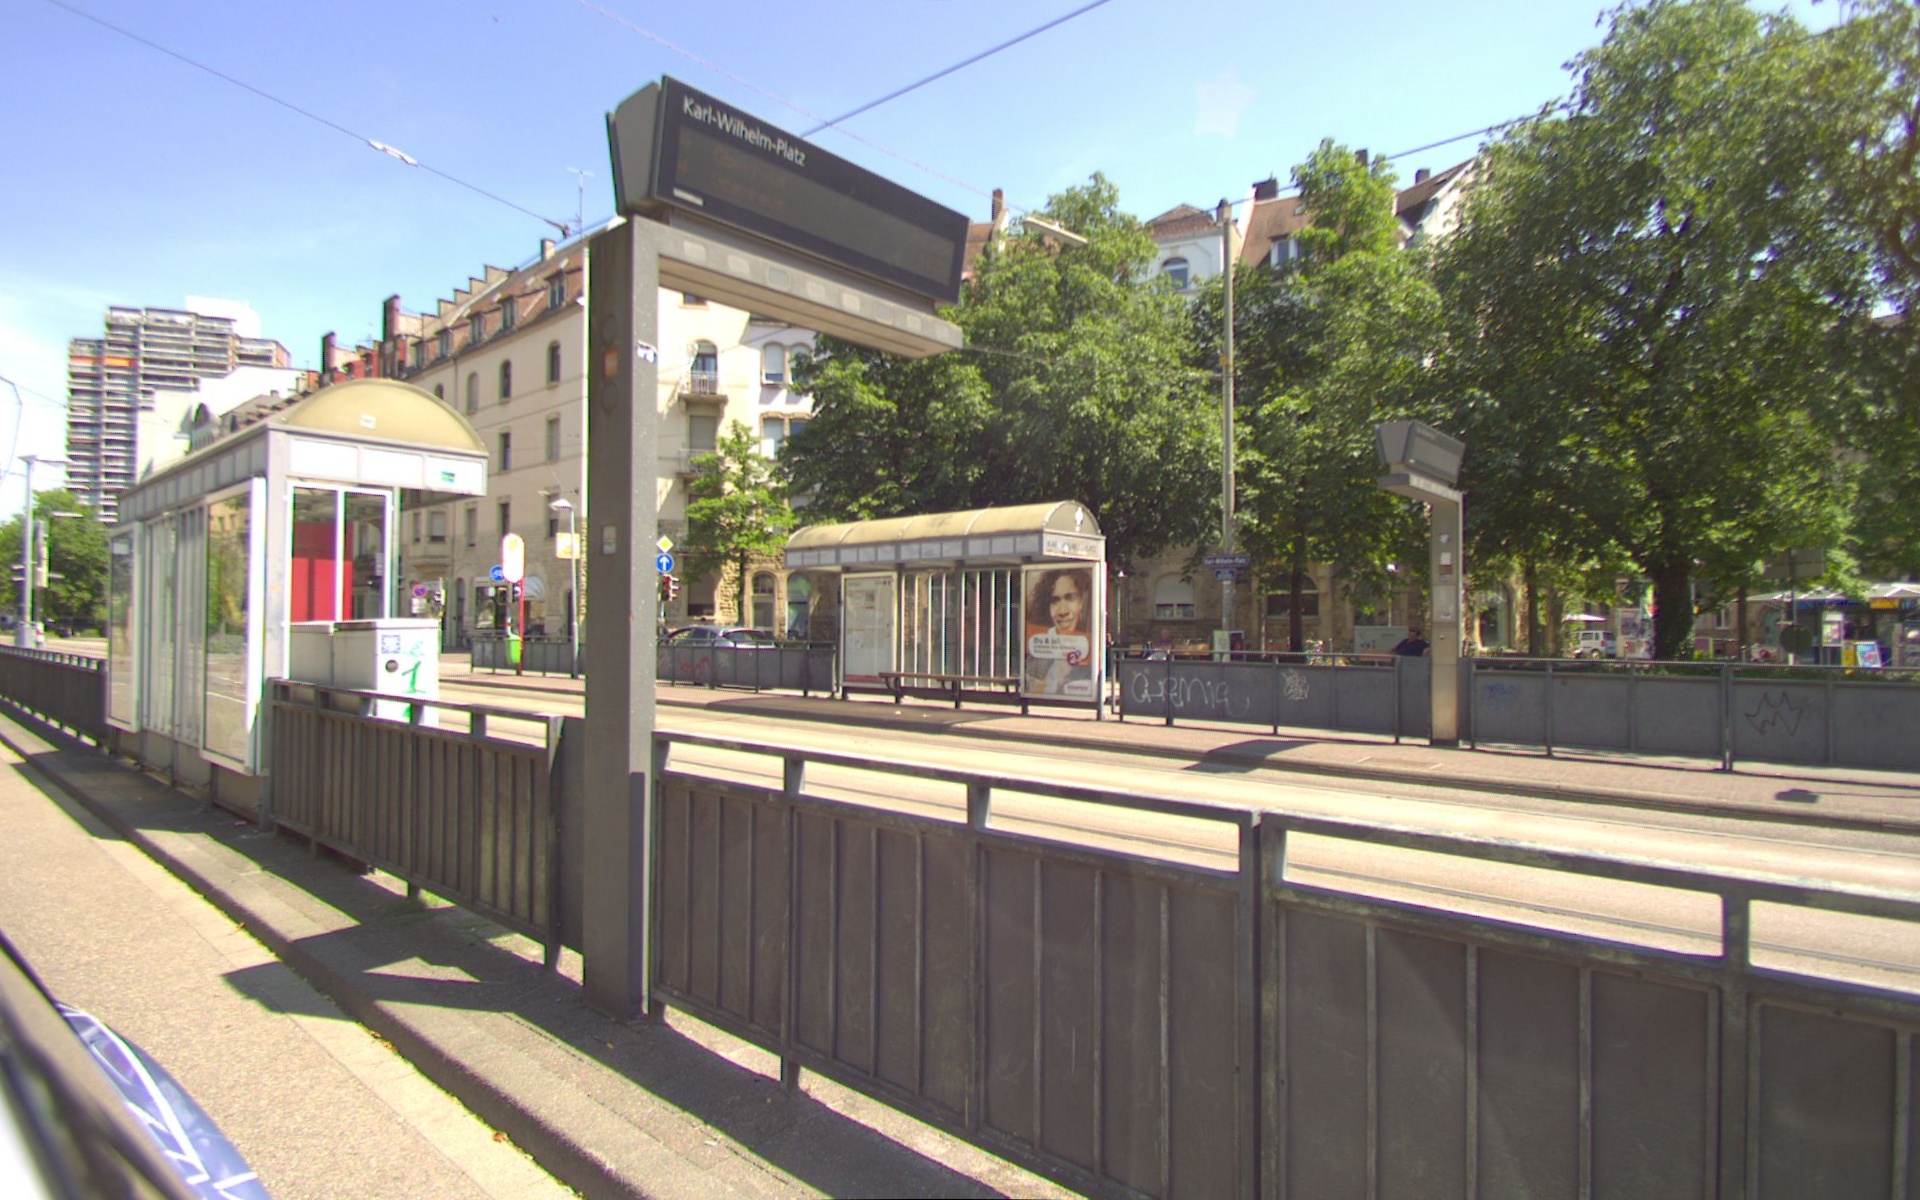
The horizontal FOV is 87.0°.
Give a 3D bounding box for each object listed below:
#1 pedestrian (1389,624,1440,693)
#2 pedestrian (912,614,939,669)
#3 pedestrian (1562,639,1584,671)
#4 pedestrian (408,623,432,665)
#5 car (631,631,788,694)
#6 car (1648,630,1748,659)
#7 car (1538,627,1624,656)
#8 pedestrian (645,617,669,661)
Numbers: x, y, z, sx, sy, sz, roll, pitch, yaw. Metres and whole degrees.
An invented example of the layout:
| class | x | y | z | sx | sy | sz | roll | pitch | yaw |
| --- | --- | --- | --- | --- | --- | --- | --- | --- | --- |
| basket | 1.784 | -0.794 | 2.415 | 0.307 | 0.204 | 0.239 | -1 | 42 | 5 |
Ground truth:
| class | x | y | z | sx | sy | sz | roll | pitch | yaw |
| --- | --- | --- | --- | --- | --- | --- | --- | --- | --- |
| pedestrian | 9.056 | 1.153 | 20.166 | 0.811 | 1.327 | 0.653 | 2 | -2 | -42 |
| pedestrian | -0.924 | 1.121 | 27.136 | 0.519 | 1.452 | 0.531 | -1 | -2 | 32 |
| pedestrian | 26.718 | 2.379 | 44.109 | 0.691 | 1.360 | 0.605 | 2 | -3 | -37 |
| pedestrian | -22.617 | 1.848 | 42.378 | 0.796 | 1.733 | 0.765 | 1 | -2 | -33 |
| car | -5.876 | 1.401 | 23.545 | 3.847 | 1.320 | 1.675 | -1 | -2 | 42 |
| car | 39.867 | 2.393 | 54.781 | 1.665 | 1.512 | 4.012 | 1 | -2 | -29 |
| car | 37.081 | 2.465 | 60.563 | 1.780 | 1.711 | 4.012 | 1 | -2 | -29 |
| pedestrian | -10.223 | 1.315 | 34.160 | 0.519 | 1.452 | 0.531 | -1 | -3 | 33 |
